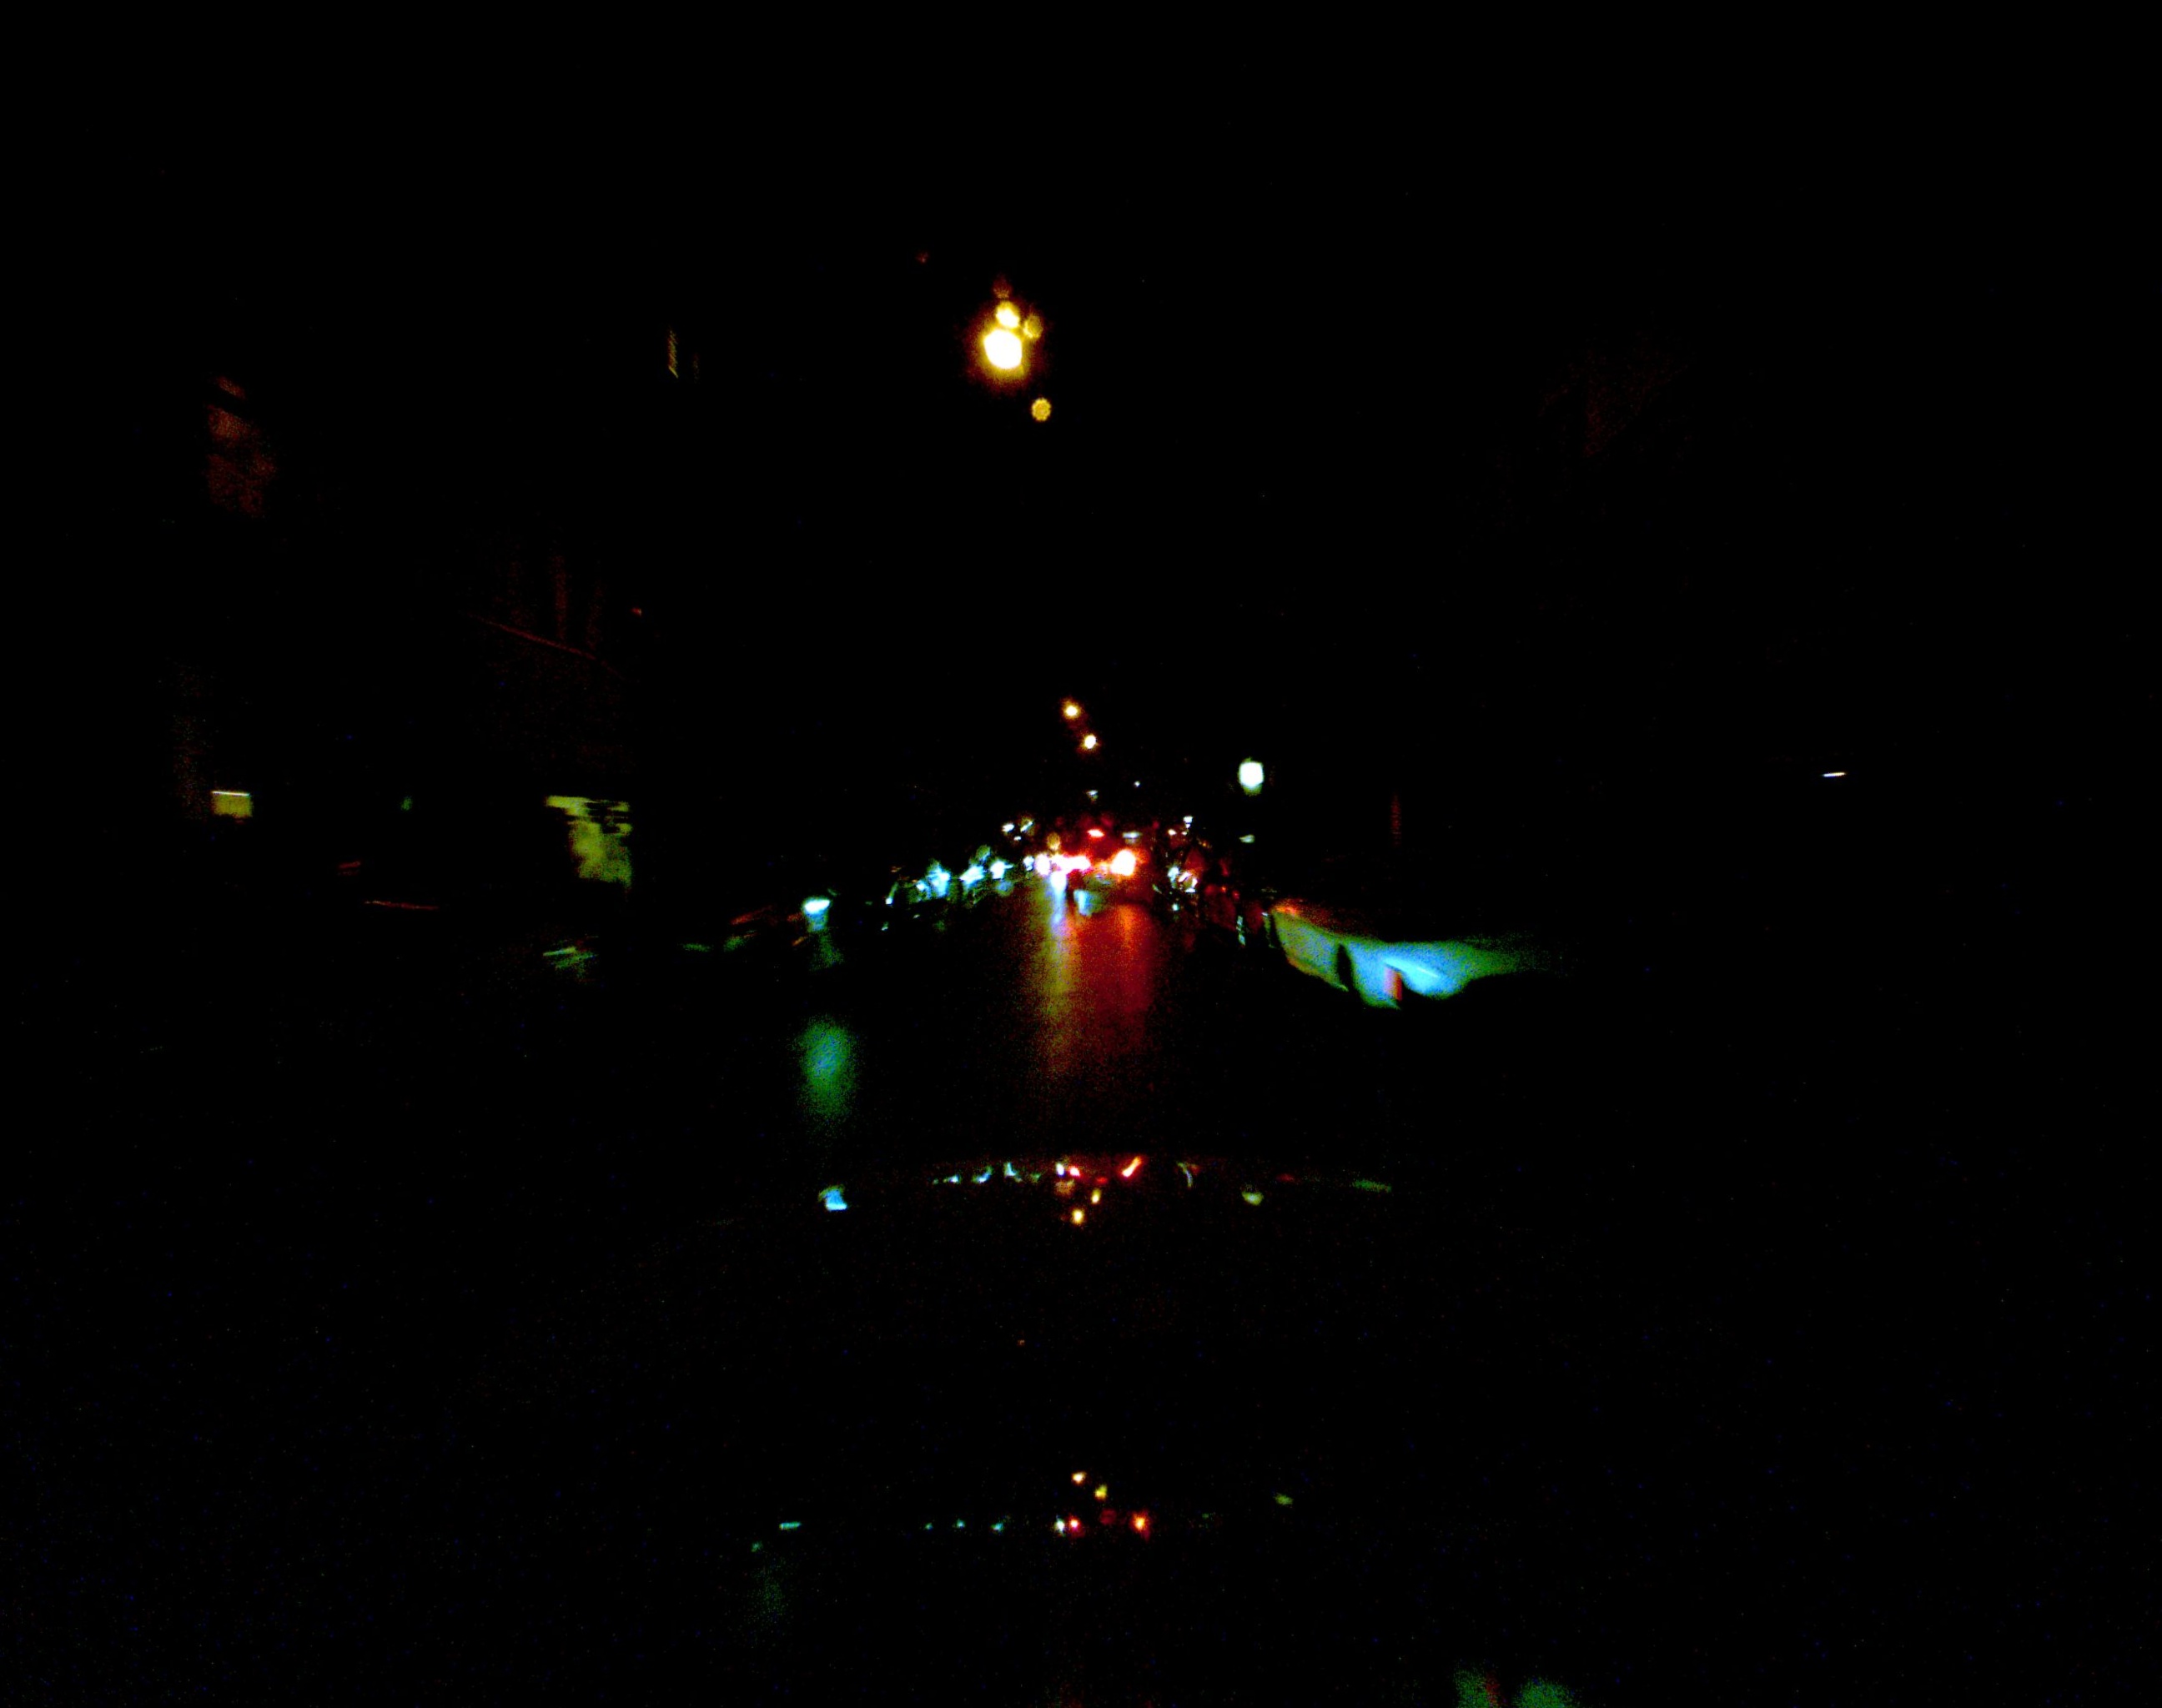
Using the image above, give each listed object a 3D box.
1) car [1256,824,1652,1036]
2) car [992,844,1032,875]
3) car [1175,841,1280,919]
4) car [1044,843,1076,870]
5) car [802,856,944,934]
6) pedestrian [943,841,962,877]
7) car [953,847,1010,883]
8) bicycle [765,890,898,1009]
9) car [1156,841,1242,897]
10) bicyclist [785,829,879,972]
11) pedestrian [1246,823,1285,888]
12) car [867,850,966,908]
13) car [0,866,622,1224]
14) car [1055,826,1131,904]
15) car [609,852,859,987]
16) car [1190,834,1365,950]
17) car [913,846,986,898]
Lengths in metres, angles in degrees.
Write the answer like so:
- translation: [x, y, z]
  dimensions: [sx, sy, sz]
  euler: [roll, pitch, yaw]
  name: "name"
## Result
- translation: [3.169, 0.537, 8.100]
  dimensions: [1.986, 1.464, 4.418]
  euler: [-2, 0, 1]
  name: "car"
- translation: [-4.015, 0.300, 48.113]
  dimensions: [1.826, 1.717, 4.596]
  euler: [-2, 0, 2]
  name: "car"
- translation: [3.161, 0.507, 18.261]
  dimensions: [1.683, 1.498, 3.892]
  euler: [-2, 0, 1]
  name: "car"
- translation: [-1.353, 0.137, 54.990]
  dimensions: [1.914, 1.618, 4.574]
  euler: [-4, 1, 0]
  name: "car"
- translation: [-4.367, 0.797, 17.834]
  dimensions: [1.815, 1.389, 4.427]
  euler: [-2, 0, 2]
  name: "car"
- translation: [-6.650, 0.248, 42.070]
  dimensions: [0.739, 1.804, 0.988]
  euler: [0, 0, 5]
  name: "pedestrian"
- translation: [-4.451, 0.466, 36.984]
  dimensions: [1.826, 1.486, 4.596]
  euler: [-2, 0, 2]
  name: "car"
- translation: [-2.840, 1.042, 9.573]
  dimensions: [0.724, 1.072, 2.349]
  euler: [-3, 0, 2]
  name: "bicycle"
- translation: [3.318, 0.386, 23.625]
  dimensions: [1.911, 1.412, 4.001]
  euler: [-2, 0, 1]
  name: "car"
- translation: [-2.871, 0.513, 9.466]
  dimensions: [0.716, 1.556, 0.895]
  euler: [-3, 0, 1]
  name: "bicyclist"
- translation: [5.329, 0.024, 23.588]
  dimensions: [0.858, 1.788, 1.084]
  euler: [-4, 1, 5]
  name: "pedestrian"
- translation: [-4.648, 0.649, 23.671]
  dimensions: [1.826, 1.481, 4.308]
  euler: [-2, 0, 2]
  name: "car"
- translation: [-5.020, 0.878, 5.458]
  dimensions: [1.666, 1.491, 3.723]
  euler: [-1, 0, 1]
  name: "car"
- translation: [0.423, 0.271, 24.442]
  dimensions: [1.988, 2.049, 4.697]
  euler: [-2, 1, 2]
  name: "car"
- translation: [-4.827, 0.800, 12.057]
  dimensions: [1.768, 1.572, 4.136]
  euler: [-2, 0, 2]
  name: "car"
- translation: [2.936, 0.505, 12.994]
  dimensions: [1.685, 1.498, 3.888]
  euler: [-2, 0, -2]
  name: "car"
- translation: [-4.438, 0.559, 27.969]
  dimensions: [1.739, 1.588, 3.767]
  euler: [-2, 0, 2]
  name: "car"
